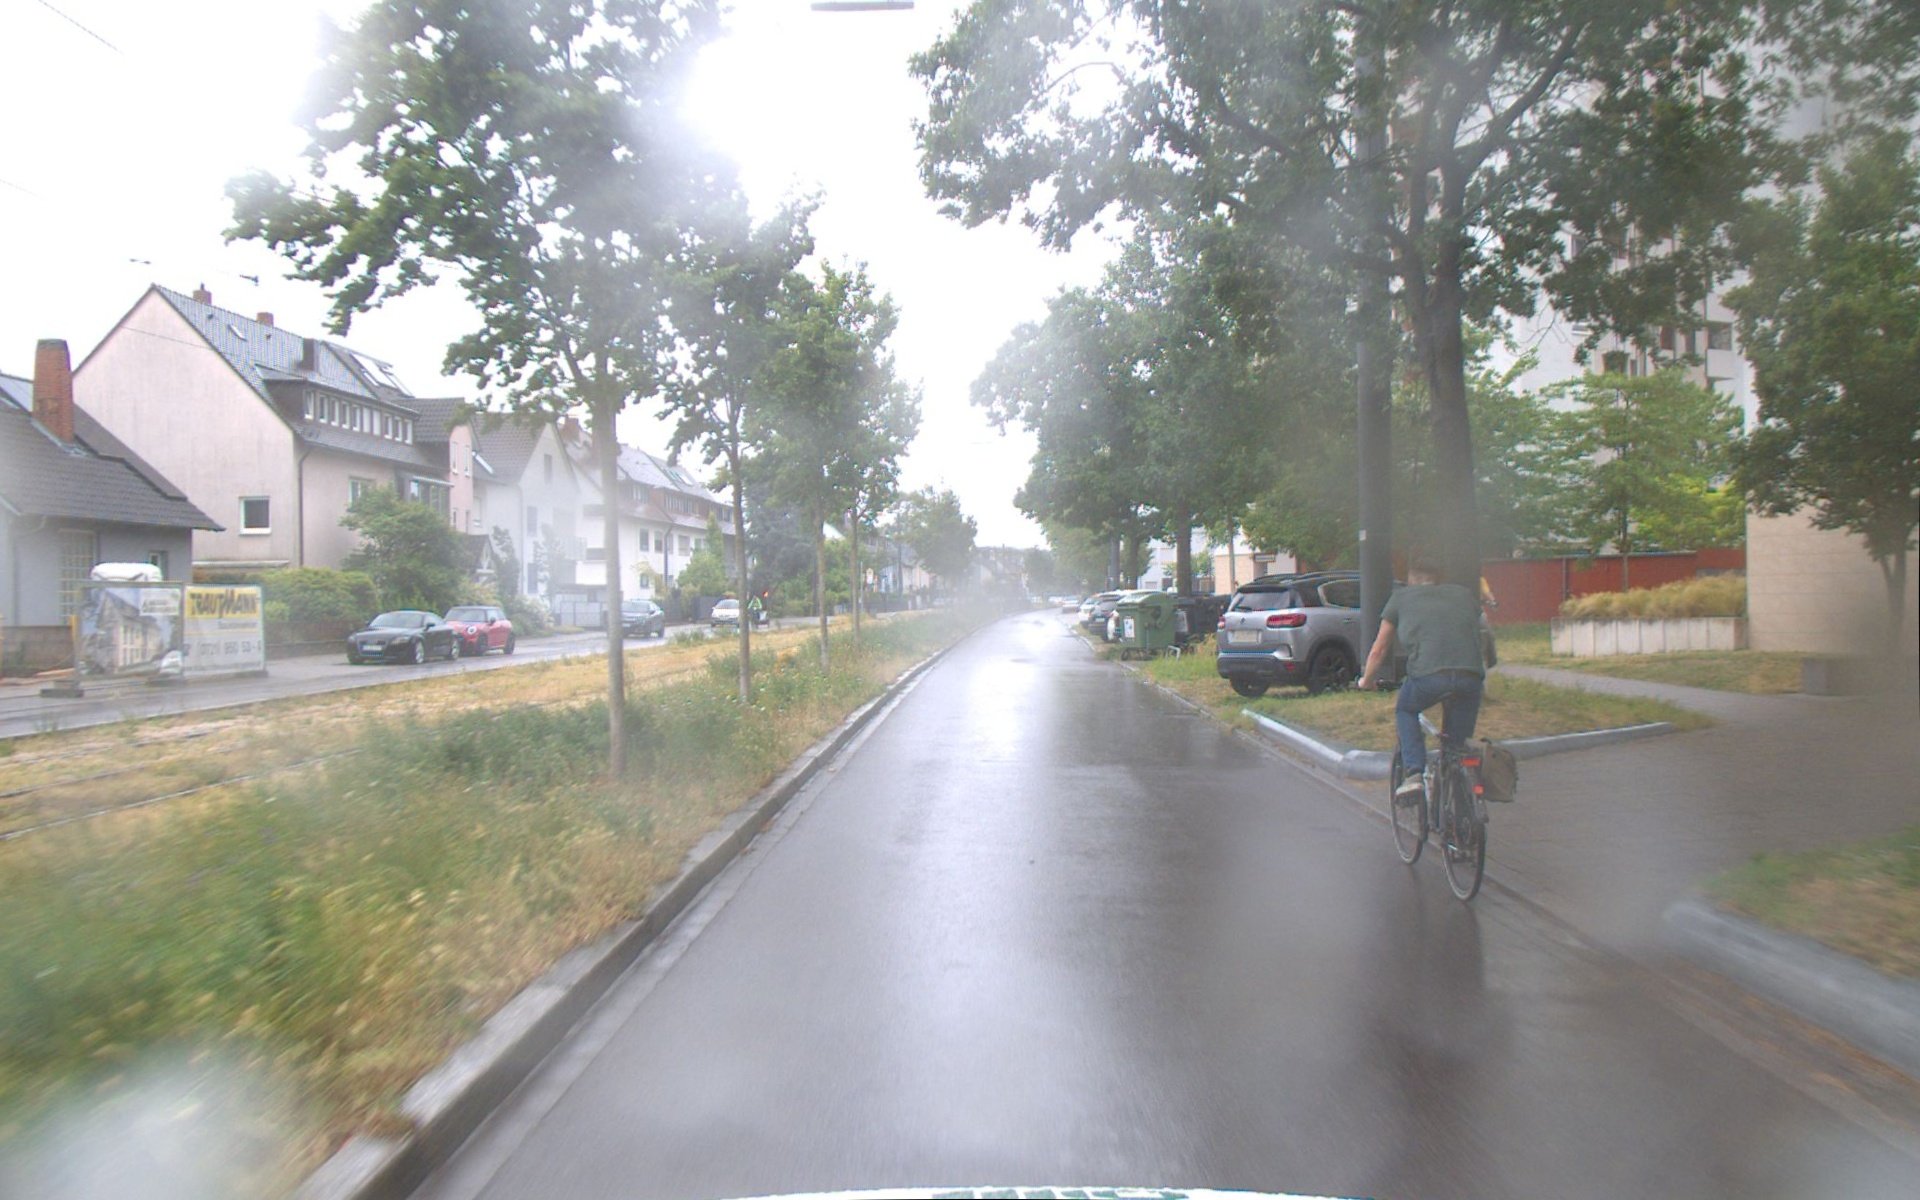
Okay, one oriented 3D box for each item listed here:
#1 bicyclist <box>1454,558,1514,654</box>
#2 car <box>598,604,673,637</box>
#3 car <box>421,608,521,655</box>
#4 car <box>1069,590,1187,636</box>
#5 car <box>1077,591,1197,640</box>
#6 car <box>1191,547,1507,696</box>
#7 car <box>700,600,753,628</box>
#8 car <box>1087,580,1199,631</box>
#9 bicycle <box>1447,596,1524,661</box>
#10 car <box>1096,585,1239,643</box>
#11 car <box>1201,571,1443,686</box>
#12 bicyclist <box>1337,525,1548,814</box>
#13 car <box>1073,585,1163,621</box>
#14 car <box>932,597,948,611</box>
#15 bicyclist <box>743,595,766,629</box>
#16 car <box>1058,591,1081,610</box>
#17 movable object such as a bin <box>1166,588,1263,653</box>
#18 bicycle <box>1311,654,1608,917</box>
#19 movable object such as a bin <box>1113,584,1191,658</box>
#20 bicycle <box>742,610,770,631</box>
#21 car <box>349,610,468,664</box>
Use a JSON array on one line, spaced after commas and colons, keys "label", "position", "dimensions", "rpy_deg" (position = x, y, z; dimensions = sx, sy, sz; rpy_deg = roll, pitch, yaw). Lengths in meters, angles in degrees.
[{"label": "bicyclist", "position": [9.152, 0.098, 28.903], "dimensions": [0.719, 1.621, 0.945], "rpy_deg": [-1, 0, 1]}, {"label": "car", "position": [-13.587, 0.827, 69.482], "dimensions": [1.856, 1.266, 4.690], "rpy_deg": [1, 0, 4]}, {"label": "car", "position": [-14.354, 0.907, 48.766], "dimensions": [1.640, 1.266, 3.856], "rpy_deg": [1, 0, 2]}, {"label": "car", "position": [5.776, 0.431, 56.732], "dimensions": [3.995, 1.468, 1.566], "rpy_deg": [-1, 0, -35]}, {"label": "car", "position": [5.685, 0.476, 52.827], "dimensions": [4.007, 1.468, 1.561], "rpy_deg": [-1, 0, -43]}, {"label": "car", "position": [5.530, 0.259, 23.429], "dimensions": [4.094, 1.749, 1.979], "rpy_deg": [-4, 1, -31]}, {"label": "car", "position": [-12.874, 0.754, 91.430], "dimensions": [1.856, 1.495, 4.690], "rpy_deg": [1, 0, 4]}, {"label": "car", "position": [6.628, 0.198, 59.671], "dimensions": [3.995, 1.733, 1.566], "rpy_deg": [-1, 0, -35]}, {"label": "bicycle", "position": [9.155, 0.476, 28.885], "dimensions": [0.719, 1.075, 2.051], "rpy_deg": [-1, 0, 1]}, {"label": "car", "position": [5.933, 0.379, 47.184], "dimensions": [3.991, 1.545, 1.567], "rpy_deg": [-1, 0, -33]}, {"label": "car", "position": [5.979, 0.426, 27.165], "dimensions": [3.843, 1.594, 1.711], "rpy_deg": [-4, 1, -35]}, {"label": "bicyclist", "position": [2.587, 0.353, 8.988], "dimensions": [0.793, 1.458, 1.060], "rpy_deg": [-1, 0, -1]}, {"label": "car", "position": [7.111, 0.128, 74.204], "dimensions": [3.995, 1.539, 1.566], "rpy_deg": [-1, 0, -35]}, {"label": "car", "position": [-2.487, 0.479, 210.473], "dimensions": [1.805, 1.701, 4.001], "rpy_deg": [-1, 0, 2]}, {"label": "bicyclist", "position": [-10.745, 0.626, 86.476], "dimensions": [0.997, 1.715, 1.092], "rpy_deg": [-1, 0, 1]}, {"label": "car", "position": [9.525, 0.014, 144.282], "dimensions": [1.795, 1.614, 4.001], "rpy_deg": [-1, 0, 2]}, {"label": "movable object such as a bin", "position": [5.740, 0.455, 37.315], "dimensions": [1.656, 1.349, 1.393], "rpy_deg": [-3, 1, -20]}, {"label": "bicycle", "position": [2.603, 0.908, 8.988], "dimensions": [0.793, 1.116, 2.516], "rpy_deg": [-2, 0, -1]}, {"label": "movable object such as a bin", "position": [4.293, 0.461, 37.054], "dimensions": [1.109, 1.482, 1.393], "rpy_deg": [-7, 2, -19]}, {"label": "bicycle", "position": [-10.729, 1.056, 87.228], "dimensions": [0.997, 1.045, 3.197], "rpy_deg": [-1, 0, 2]}, {"label": "car", "position": [-14.450, 0.946, 43.579], "dimensions": [1.629, 1.266, 4.072], "rpy_deg": [1, 0, 2]}]
